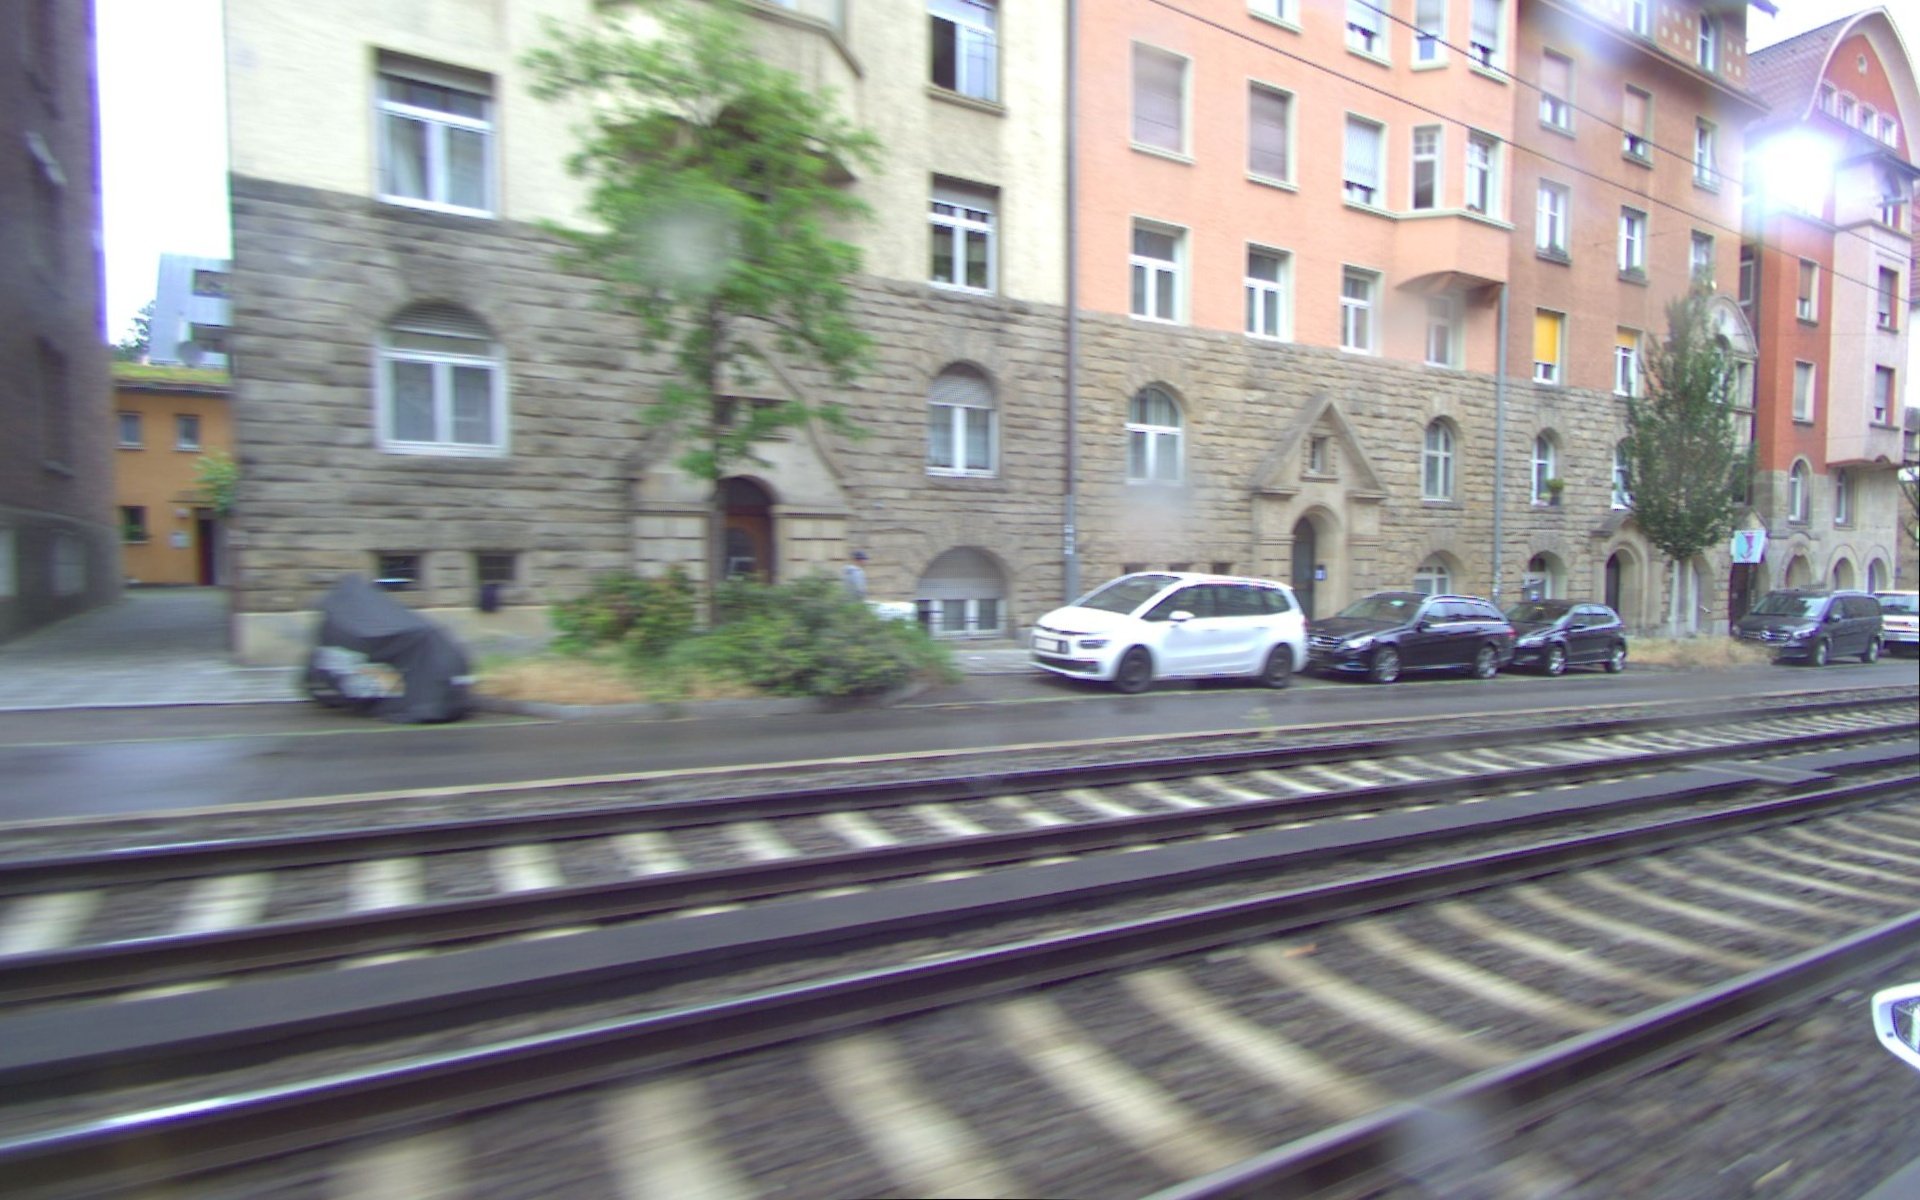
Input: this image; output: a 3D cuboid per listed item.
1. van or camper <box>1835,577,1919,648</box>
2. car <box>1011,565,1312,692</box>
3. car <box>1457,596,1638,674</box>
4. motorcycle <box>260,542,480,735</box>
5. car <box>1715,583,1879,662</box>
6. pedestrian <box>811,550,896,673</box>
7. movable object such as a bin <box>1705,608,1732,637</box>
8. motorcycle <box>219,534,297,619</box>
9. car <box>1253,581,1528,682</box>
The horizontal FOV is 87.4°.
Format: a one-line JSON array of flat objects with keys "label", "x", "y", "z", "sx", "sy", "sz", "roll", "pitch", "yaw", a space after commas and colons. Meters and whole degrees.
[{"label": "van or camper", "x": 28.869, "y": 0.431, "z": 30.596, "sx": 4.647, "sy": 1.925, "sz": 1.984, "roll": 2, "pitch": -6, "yaw": -32}, {"label": "car", "x": 3.076, "y": 0.386, "z": 15.154, "sx": 4.299, "sy": 1.611, "sz": 1.776, "roll": 1, "pitch": 4, "yaw": -30}, {"label": "car", "x": 12.095, "y": 0.690, "z": 20.625, "sx": 3.842, "sy": 1.417, "sz": 1.632, "roll": 1, "pitch": 2, "yaw": -33}, {"label": "motorcycle", "x": -5.838, "y": 0.304, "z": 9.879, "sx": 2.235, "sy": 1.664, "sz": 1.285, "roll": 3, "pitch": 1, "yaw": 44}, {"label": "car", "x": 22.272, "y": 0.583, "z": 26.679, "sx": 4.647, "sy": 1.927, "sz": 1.983, "roll": 1, "pitch": 0, "yaw": -32}, {"label": "pedestrian", "x": -1.623, "y": 0.151, "z": 15.228, "sx": 0.913, "sy": 1.777, "sz": 1.002, "roll": 1, "pitch": 3, "yaw": -29}, {"label": "movable object such as a bin", "x": 26.337, "y": 0.769, "z": 34.869, "sx": 0.513, "sy": 0.968, "sz": 0.571, "roll": 1, "pitch": 2, "yaw": -29}, {"label": "motorcycle", "x": -13.576, "y": -0.465, "z": 19.507, "sx": 0.982, "sy": 1.534, "sz": 2.866, "roll": -2, "pitch": 2, "yaw": -31}, {"label": "car", "x": 7.806, "y": 0.535, "z": 18.100, "sx": 4.916, "sy": 1.530, "sz": 1.983, "roll": 1, "pitch": 3, "yaw": -30}]
